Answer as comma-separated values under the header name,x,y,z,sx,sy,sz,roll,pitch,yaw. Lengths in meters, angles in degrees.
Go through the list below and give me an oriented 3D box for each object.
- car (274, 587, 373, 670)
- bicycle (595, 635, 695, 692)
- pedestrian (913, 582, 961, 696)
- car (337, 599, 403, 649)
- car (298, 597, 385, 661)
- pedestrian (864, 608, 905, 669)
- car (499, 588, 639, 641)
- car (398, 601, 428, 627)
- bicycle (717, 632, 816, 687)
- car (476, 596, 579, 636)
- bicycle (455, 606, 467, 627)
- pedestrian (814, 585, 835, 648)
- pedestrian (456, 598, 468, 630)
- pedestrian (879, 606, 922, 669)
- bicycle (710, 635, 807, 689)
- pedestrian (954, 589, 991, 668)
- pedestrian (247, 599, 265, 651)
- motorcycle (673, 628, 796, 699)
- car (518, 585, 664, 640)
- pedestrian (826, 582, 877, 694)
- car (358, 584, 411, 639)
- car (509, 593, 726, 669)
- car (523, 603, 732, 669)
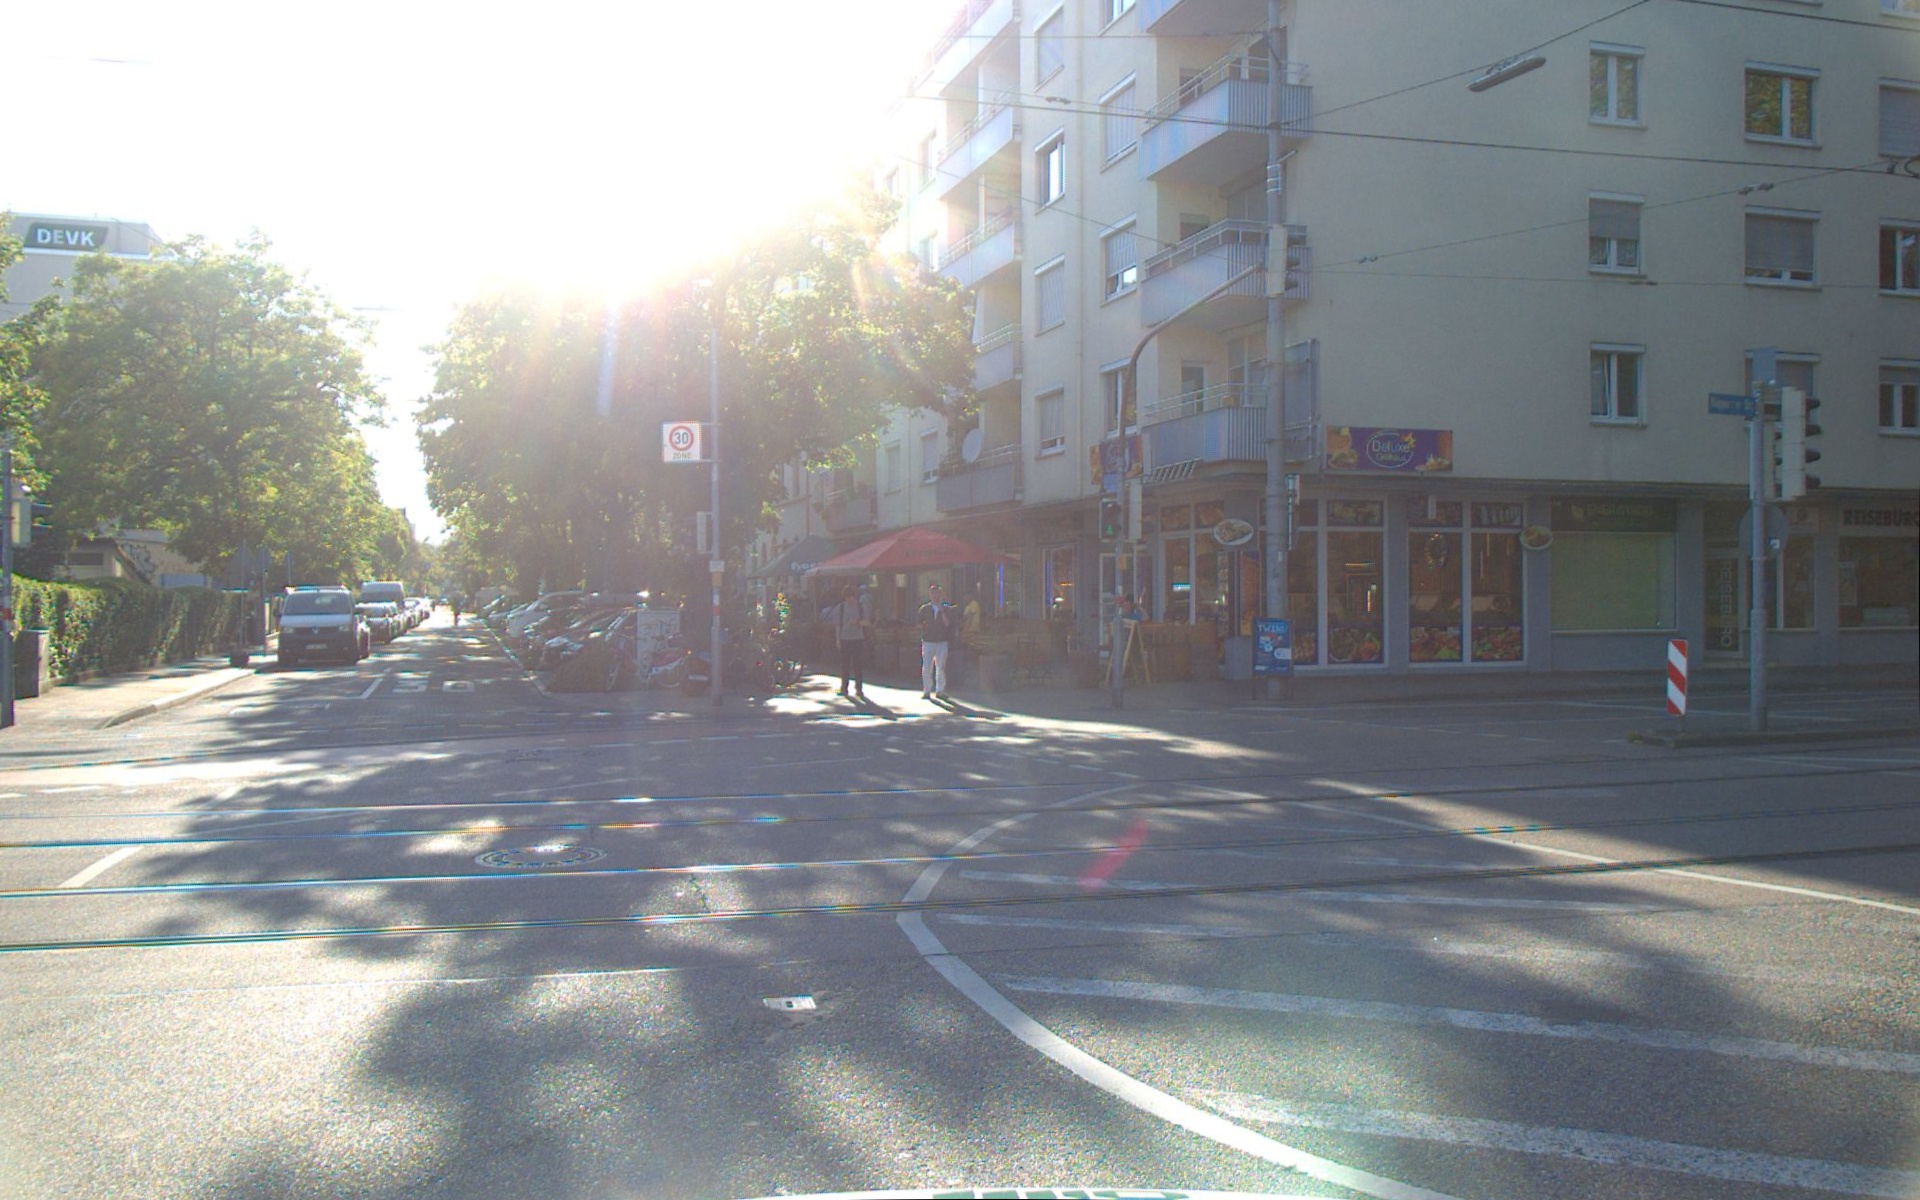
name,x,y,z,sx,sy,sz,roll,pitch,yaw
car,-16.865,0.717,43.994,2.320,2.049,5.277,0,0,-20
bicycle,-5.638,1.124,29.584,1.697,0.949,0.669,0,0,-19
pedestrian,-0.363,0.605,26.196,0.678,1.781,0.839,0,0,-7
car,-22.952,0.910,64.330,2.320,1.826,5.277,0,0,-20
car,-18.636,0.835,49.915,2.320,1.826,5.277,0,0,-20
pedestrian,-1.759,0.874,38.382,0.797,1.386,0.911,-1,0,-13
car,-15.195,0.558,64.221,5.017,1.958,2.347,0,-2,-21
car,-39.936,1.039,120.721,1.963,1.719,3.977,3,-3,-19
bicycle,-3.477,1.058,29.773,1.697,0.949,0.559,0,0,-19
car,-22.668,0.828,86.603,5.017,1.958,2.347,0,-2,-21
bicycle,-31.609,1.048,104.740,0.754,1.347,1.914,0,0,-17
pedestrian,-4.441,0.544,54.160,0.529,2.049,0.507,0,0,-25
pedestrian,-31.557,0.876,104.764,0.725,2.049,0.740,0,0,-17
pedestrian,-1.346,0.825,37.125,0.797,1.386,0.911,-1,0,-13
bicycle,-3.711,1.133,30.500,1.697,0.949,0.559,0,0,-19
pedestrian,0.252,0.591,34.320,0.612,1.619,0.473,0,0,-35
pedestrian,-23.957,0.844,56.279,0.571,1.761,0.604,0,0,-24
motorcycle,-3.829,1.055,28.083,1.926,1.129,0.831,-1,0,-24
car,-13.682,0.466,61.339,5.017,1.958,2.347,0,-2,-21
pedestrian,-1.773,0.606,26.953,0.680,1.781,0.791,0,0,-16
car,-27.671,0.544,79.409,2.320,2.558,5.277,0,0,-20
car,-9.396,0.838,45.287,5.539,1.958,2.347,0,-2,-21
car,-8.630,0.926,42.824,5.017,1.584,2.347,0,-2,-21
